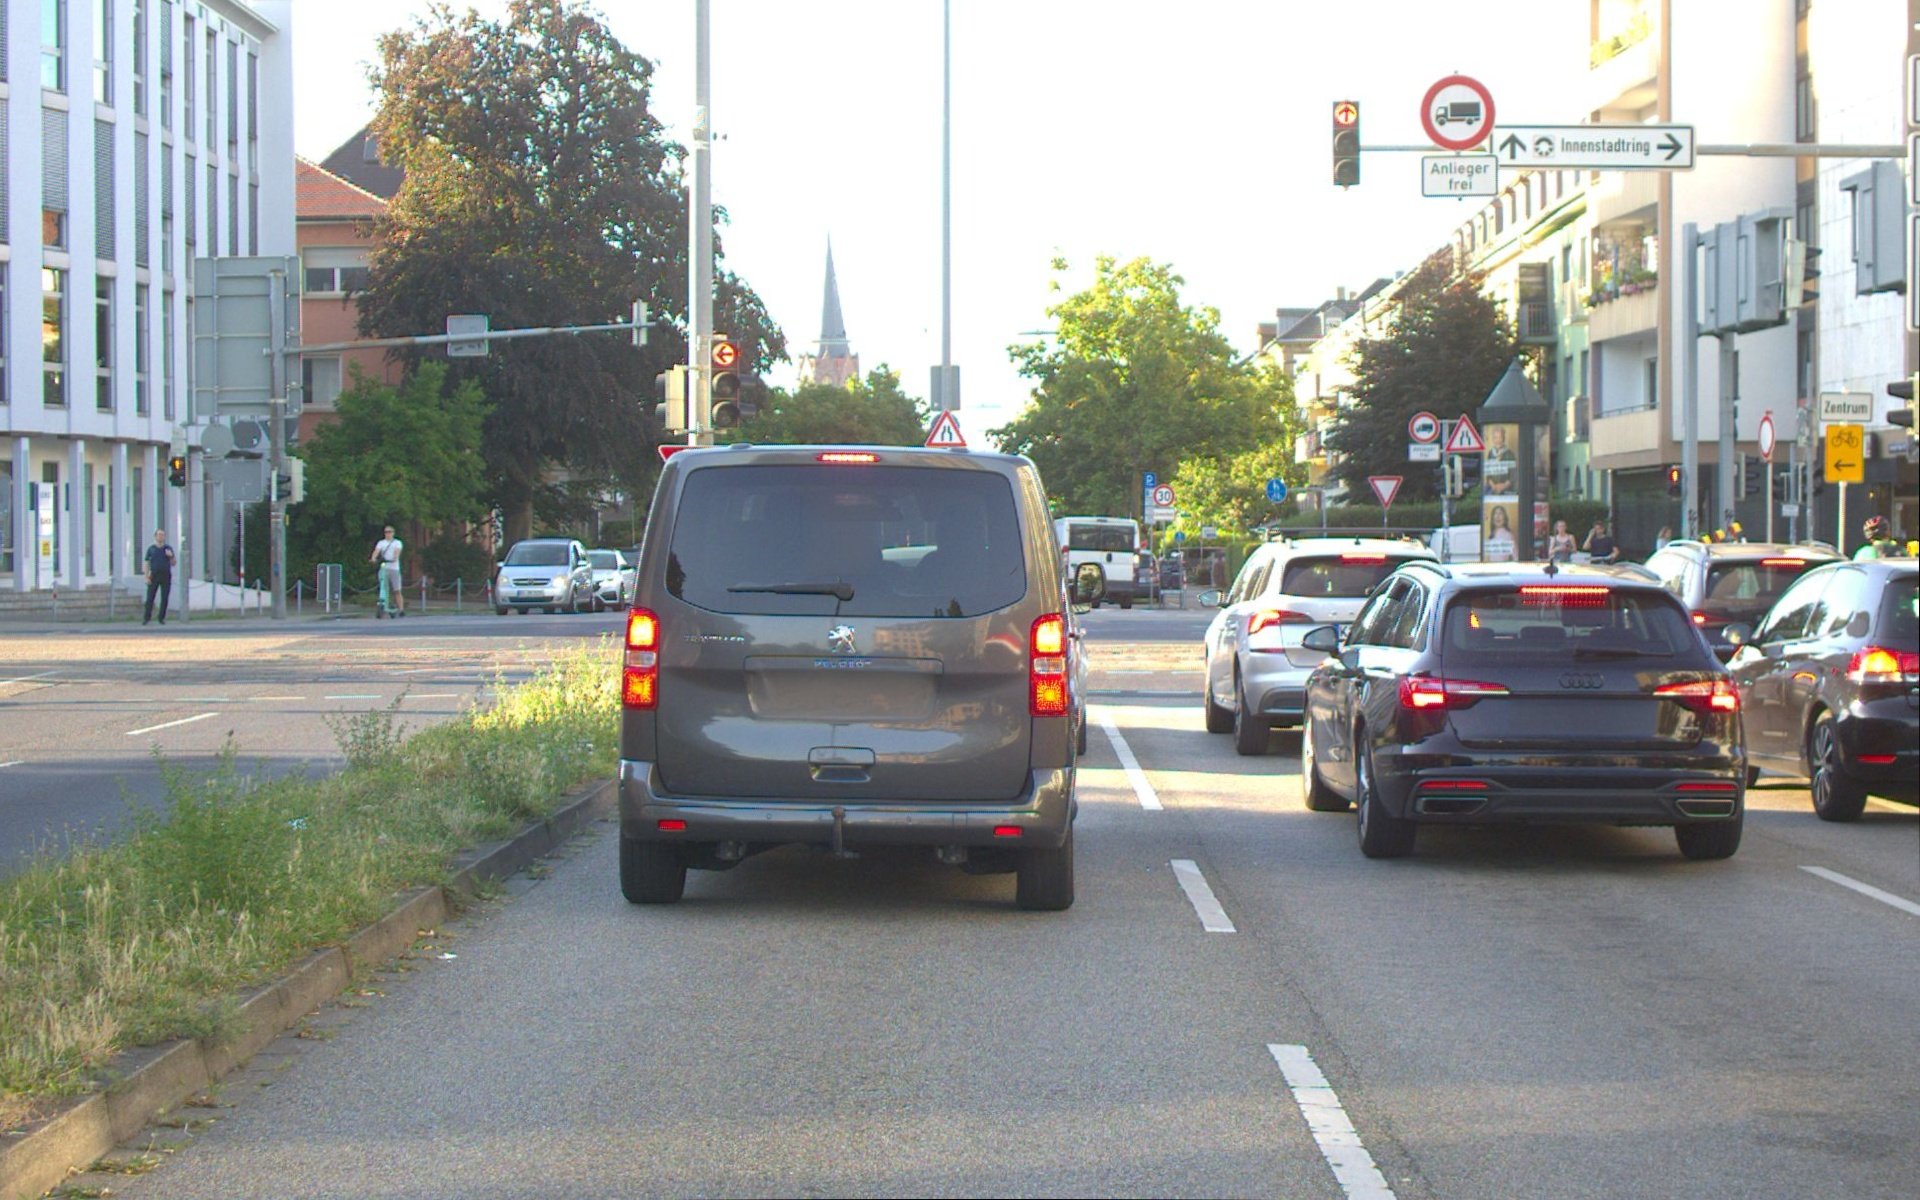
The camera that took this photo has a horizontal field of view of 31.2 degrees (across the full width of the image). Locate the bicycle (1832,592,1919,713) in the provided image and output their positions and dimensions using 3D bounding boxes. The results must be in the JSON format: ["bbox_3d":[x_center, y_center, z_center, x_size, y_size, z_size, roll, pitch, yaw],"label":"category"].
[{"bbox_3d":[8.166,0.451,30.600,0.336,1.004,1.856,0,1,0],"label":"bicycle"}]

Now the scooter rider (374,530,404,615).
[{"bbox_3d":[-11.472,-0.551,69.089,0.481,1.691,0.636,0,1,0],"label":"scooter rider"}]

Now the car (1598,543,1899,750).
[{"bbox_3d":[5.838,0.299,25.774,1.505,1.444,3.305,0,1,0],"label":"car"}]

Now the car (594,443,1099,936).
[{"bbox_3d":[-0.434,0.301,15.505,1.907,1.857,4.527,1,1,0],"label":"car"}]

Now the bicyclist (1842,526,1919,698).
[{"bbox_3d":[8.212,0.098,30.641,0.513,1.520,0.725,0,1,0],"label":"bicyclist"}]

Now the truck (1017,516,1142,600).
[{"bbox_3d":[3.019,-1.101,87.941,2.127,2.079,4.633,-1,1,-12],"label":"truck"}]

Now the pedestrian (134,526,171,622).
[{"bbox_3d":[-14.523,-0.474,61.808,0.625,1.716,0.671,0,1,-13],"label":"pedestrian"}]

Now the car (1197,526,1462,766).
[{"bbox_3d":[2.660,0.277,25.428,1.529,1.608,3.745,1,1,0],"label":"car"}]

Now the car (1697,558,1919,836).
[{"bbox_3d":[5.549,0.507,20.135,1.634,1.444,3.745,1,1,0],"label":"car"}]

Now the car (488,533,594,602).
[{"bbox_3d":[-8.868,-0.717,73.031,1.856,1.415,4.000,0,1,-1],"label":"car"}]

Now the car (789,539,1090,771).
[{"bbox_3d":[-0.134,0.330,24.803,1.993,1.525,4.000,0,1,0],"label":"car"}]

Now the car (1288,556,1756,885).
[{"bbox_3d":[2.731,0.517,17.592,1.681,1.416,4.214,1,1,0],"label":"car"}]

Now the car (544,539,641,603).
[{"bbox_3d":[-8.373,-0.679,78.611,1.856,1.415,4.000,0,1,-1],"label":"car"}]

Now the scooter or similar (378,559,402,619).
[{"bbox_3d":[-11.438,-0.218,68.979,0.285,1.184,1.169,0,1,0],"label":"scooter or similar"}]
